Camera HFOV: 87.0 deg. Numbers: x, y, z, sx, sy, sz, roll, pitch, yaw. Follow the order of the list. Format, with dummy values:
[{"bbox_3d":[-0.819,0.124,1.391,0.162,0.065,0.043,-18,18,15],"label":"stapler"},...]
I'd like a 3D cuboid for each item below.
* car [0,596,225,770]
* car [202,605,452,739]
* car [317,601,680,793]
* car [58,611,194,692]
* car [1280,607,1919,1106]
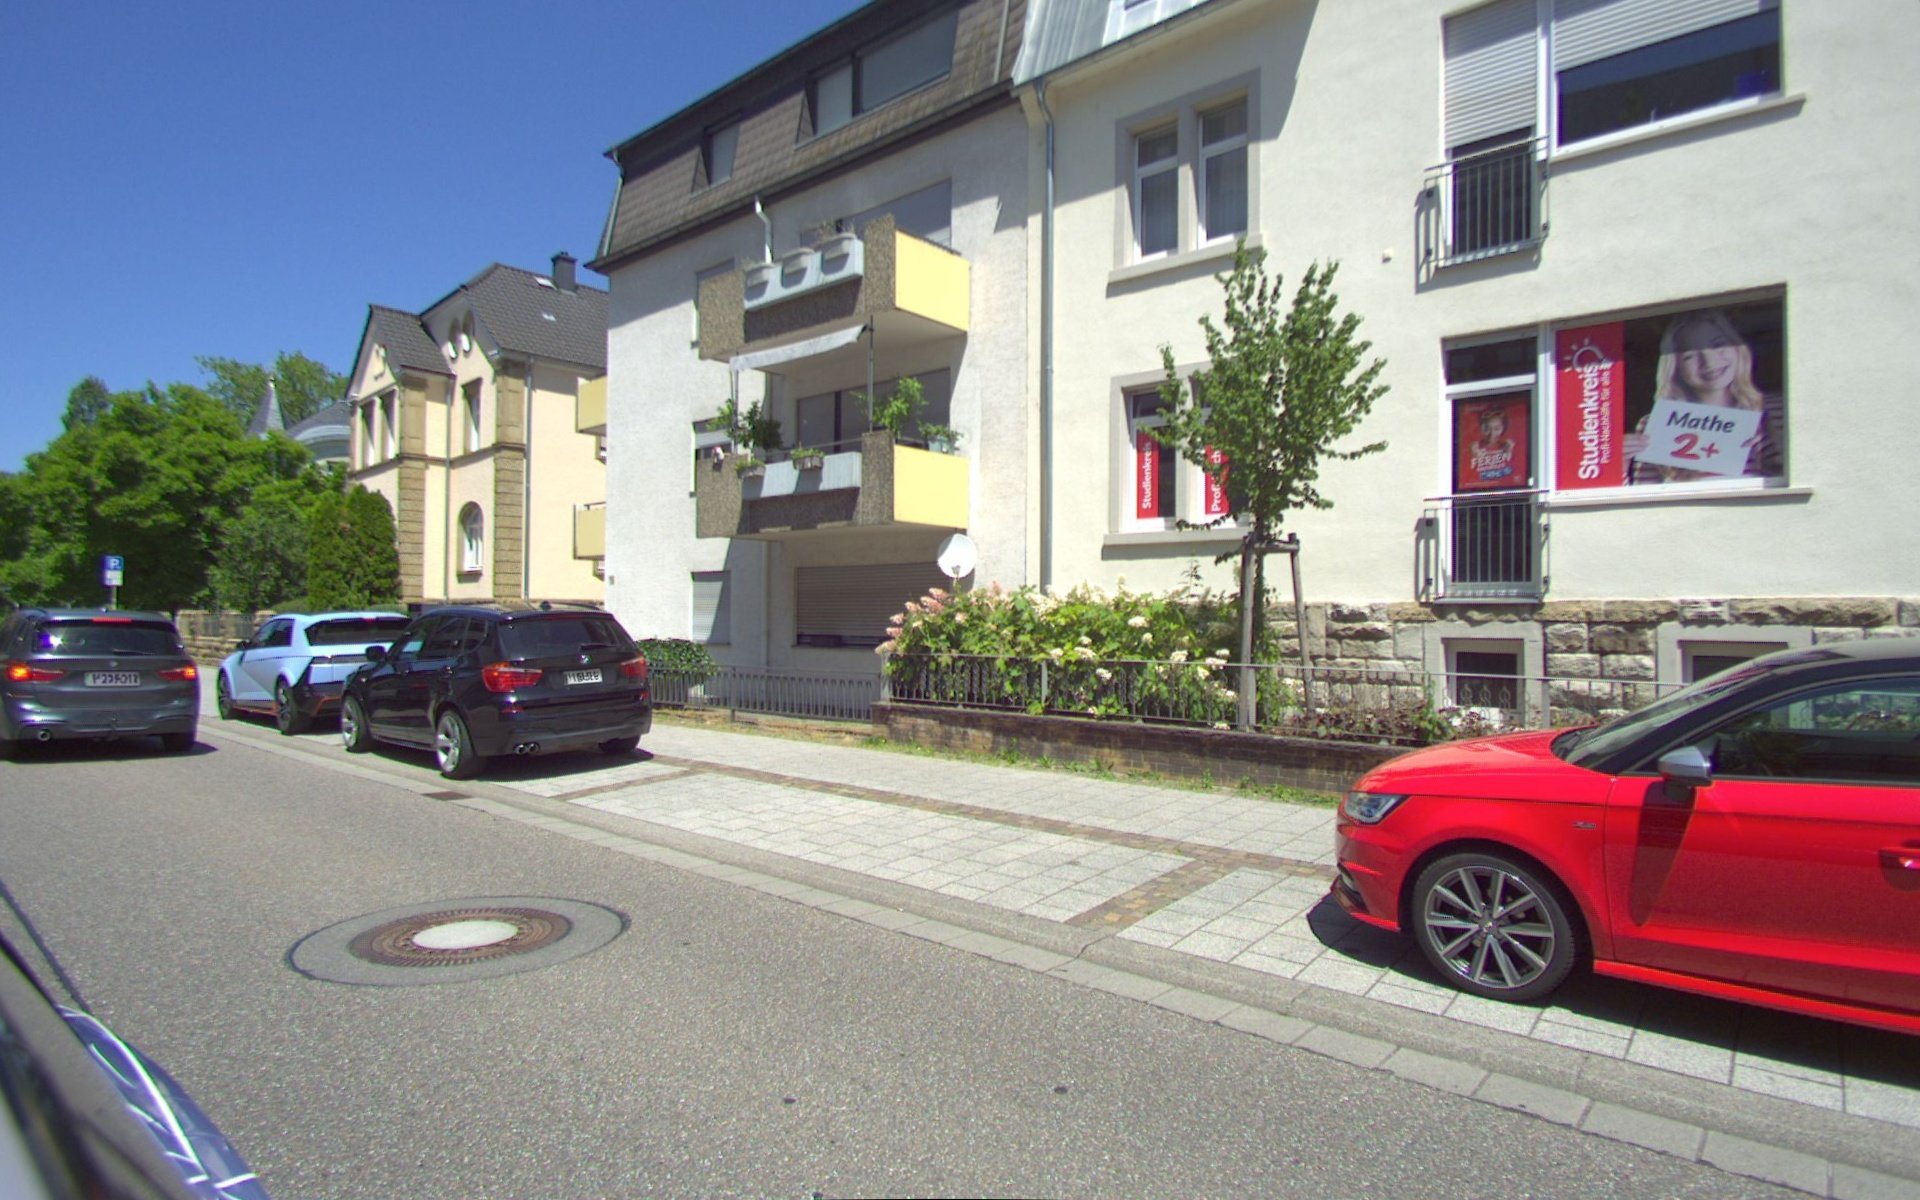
[{"bbox_3d":[-10.358,0.851,11.852,4.285,1.690,1.900,-1,-3,41],"label":"car"},{"bbox_3d":[-9.196,0.914,14.572,4.285,1.598,1.900,-1,1,42],"label":"car"},{"bbox_3d":[-5.097,0.861,10.881,4.434,1.598,1.900,-1,1,42],"label":"car"},{"bbox_3d":[-19.941,1.151,24.134,4.287,1.703,1.900,-1,1,43],"label":"car"},{"bbox_3d":[3.557,0.783,3.630,4.258,1.463,1.714,-1,1,42],"label":"car"}]
